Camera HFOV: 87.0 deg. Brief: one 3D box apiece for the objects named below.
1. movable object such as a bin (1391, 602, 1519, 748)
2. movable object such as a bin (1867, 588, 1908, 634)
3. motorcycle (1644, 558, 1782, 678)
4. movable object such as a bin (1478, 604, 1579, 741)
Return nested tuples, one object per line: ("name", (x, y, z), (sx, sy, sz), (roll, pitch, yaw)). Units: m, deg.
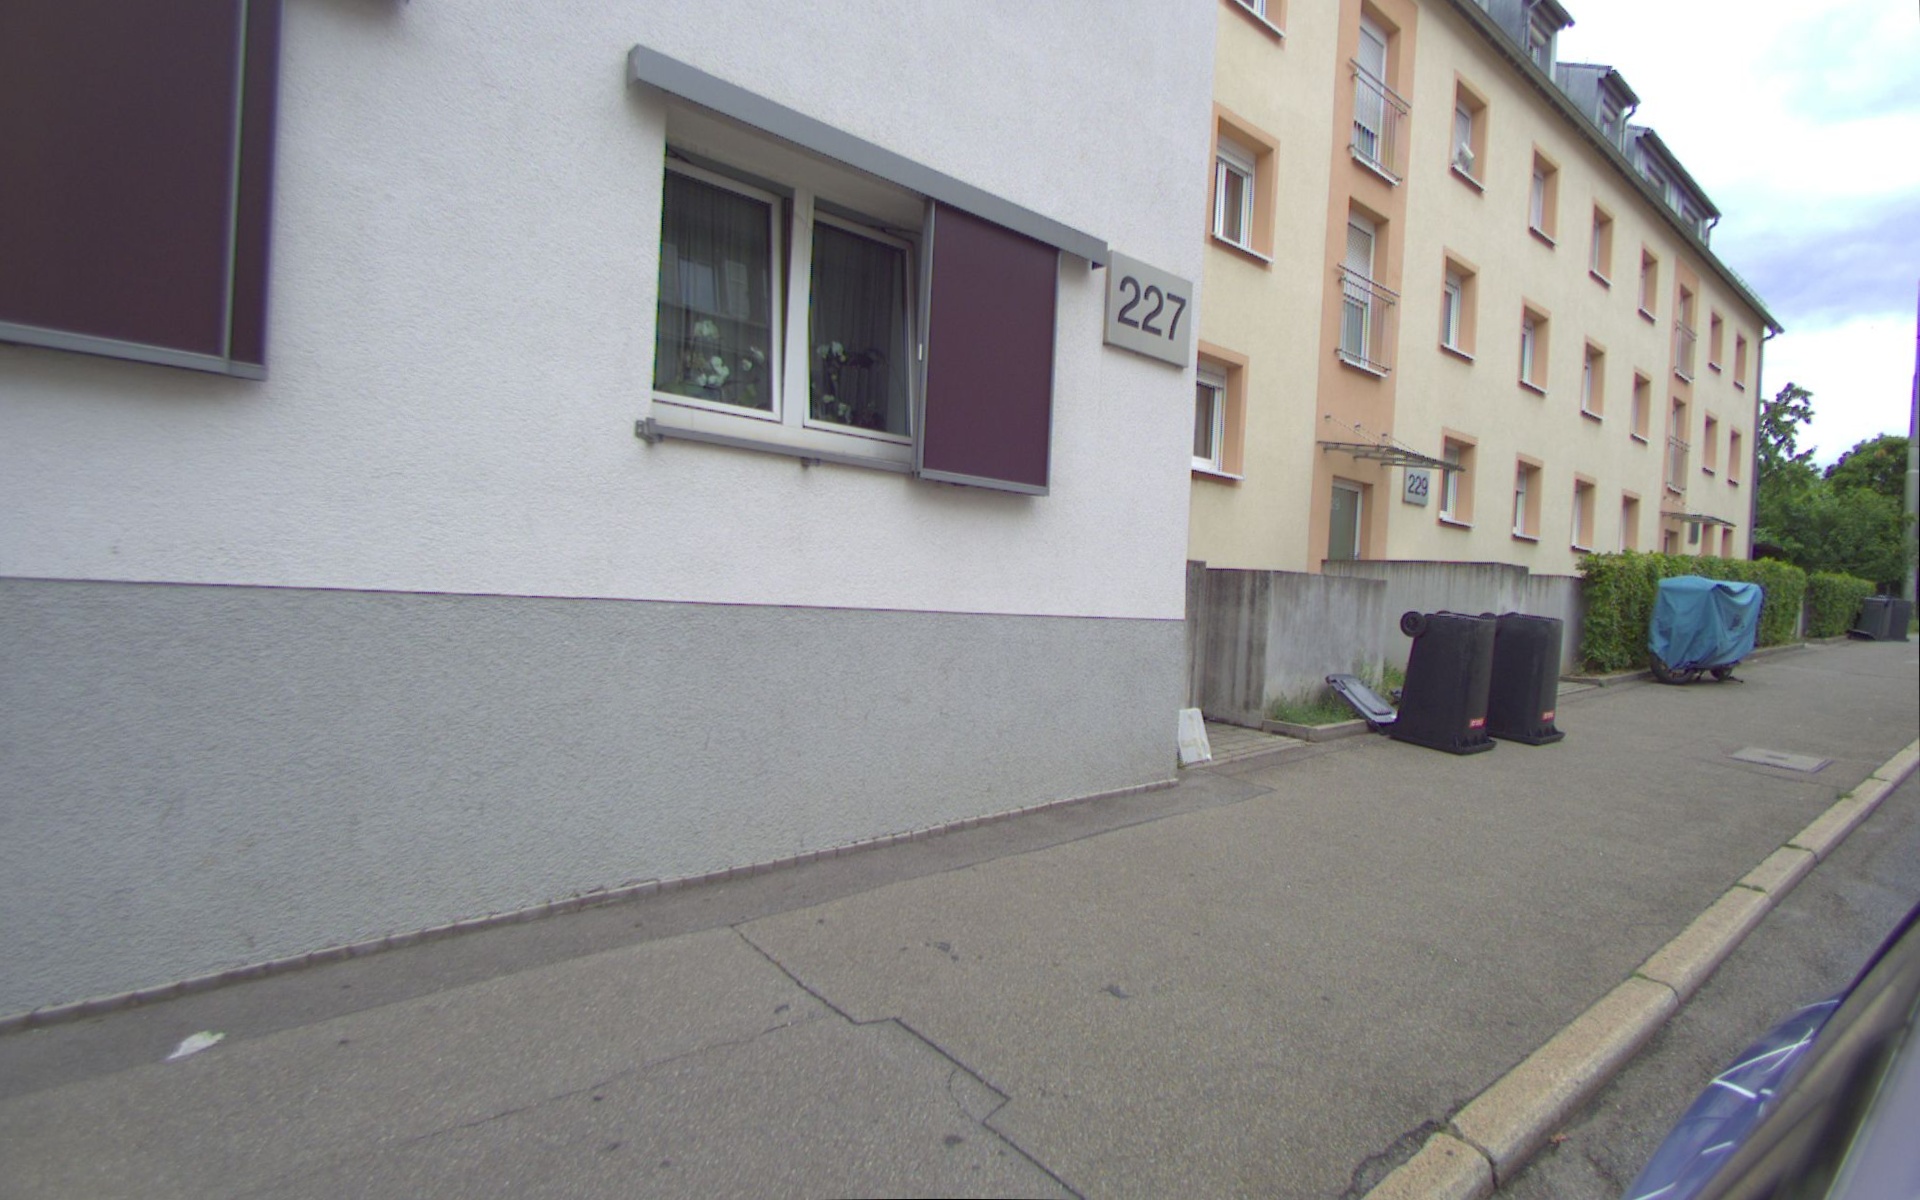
("movable object such as a bin", (3.831, 0.552, 7.843), (0.592, 1.021, 0.638), (1, 4, -40))
("movable object such as a bin", (22.294, 0.259, 24.327), (0.530, 1.072, 0.669), (1, 0, -40))
("motorcycle", (9.749, 0.216, 13.081), (1.899, 1.406, 0.733), (1, 5, -34))
("movable object such as a bin", (4.662, 0.570, 8.304), (0.563, 1.021, 0.491), (6, 4, 41))
